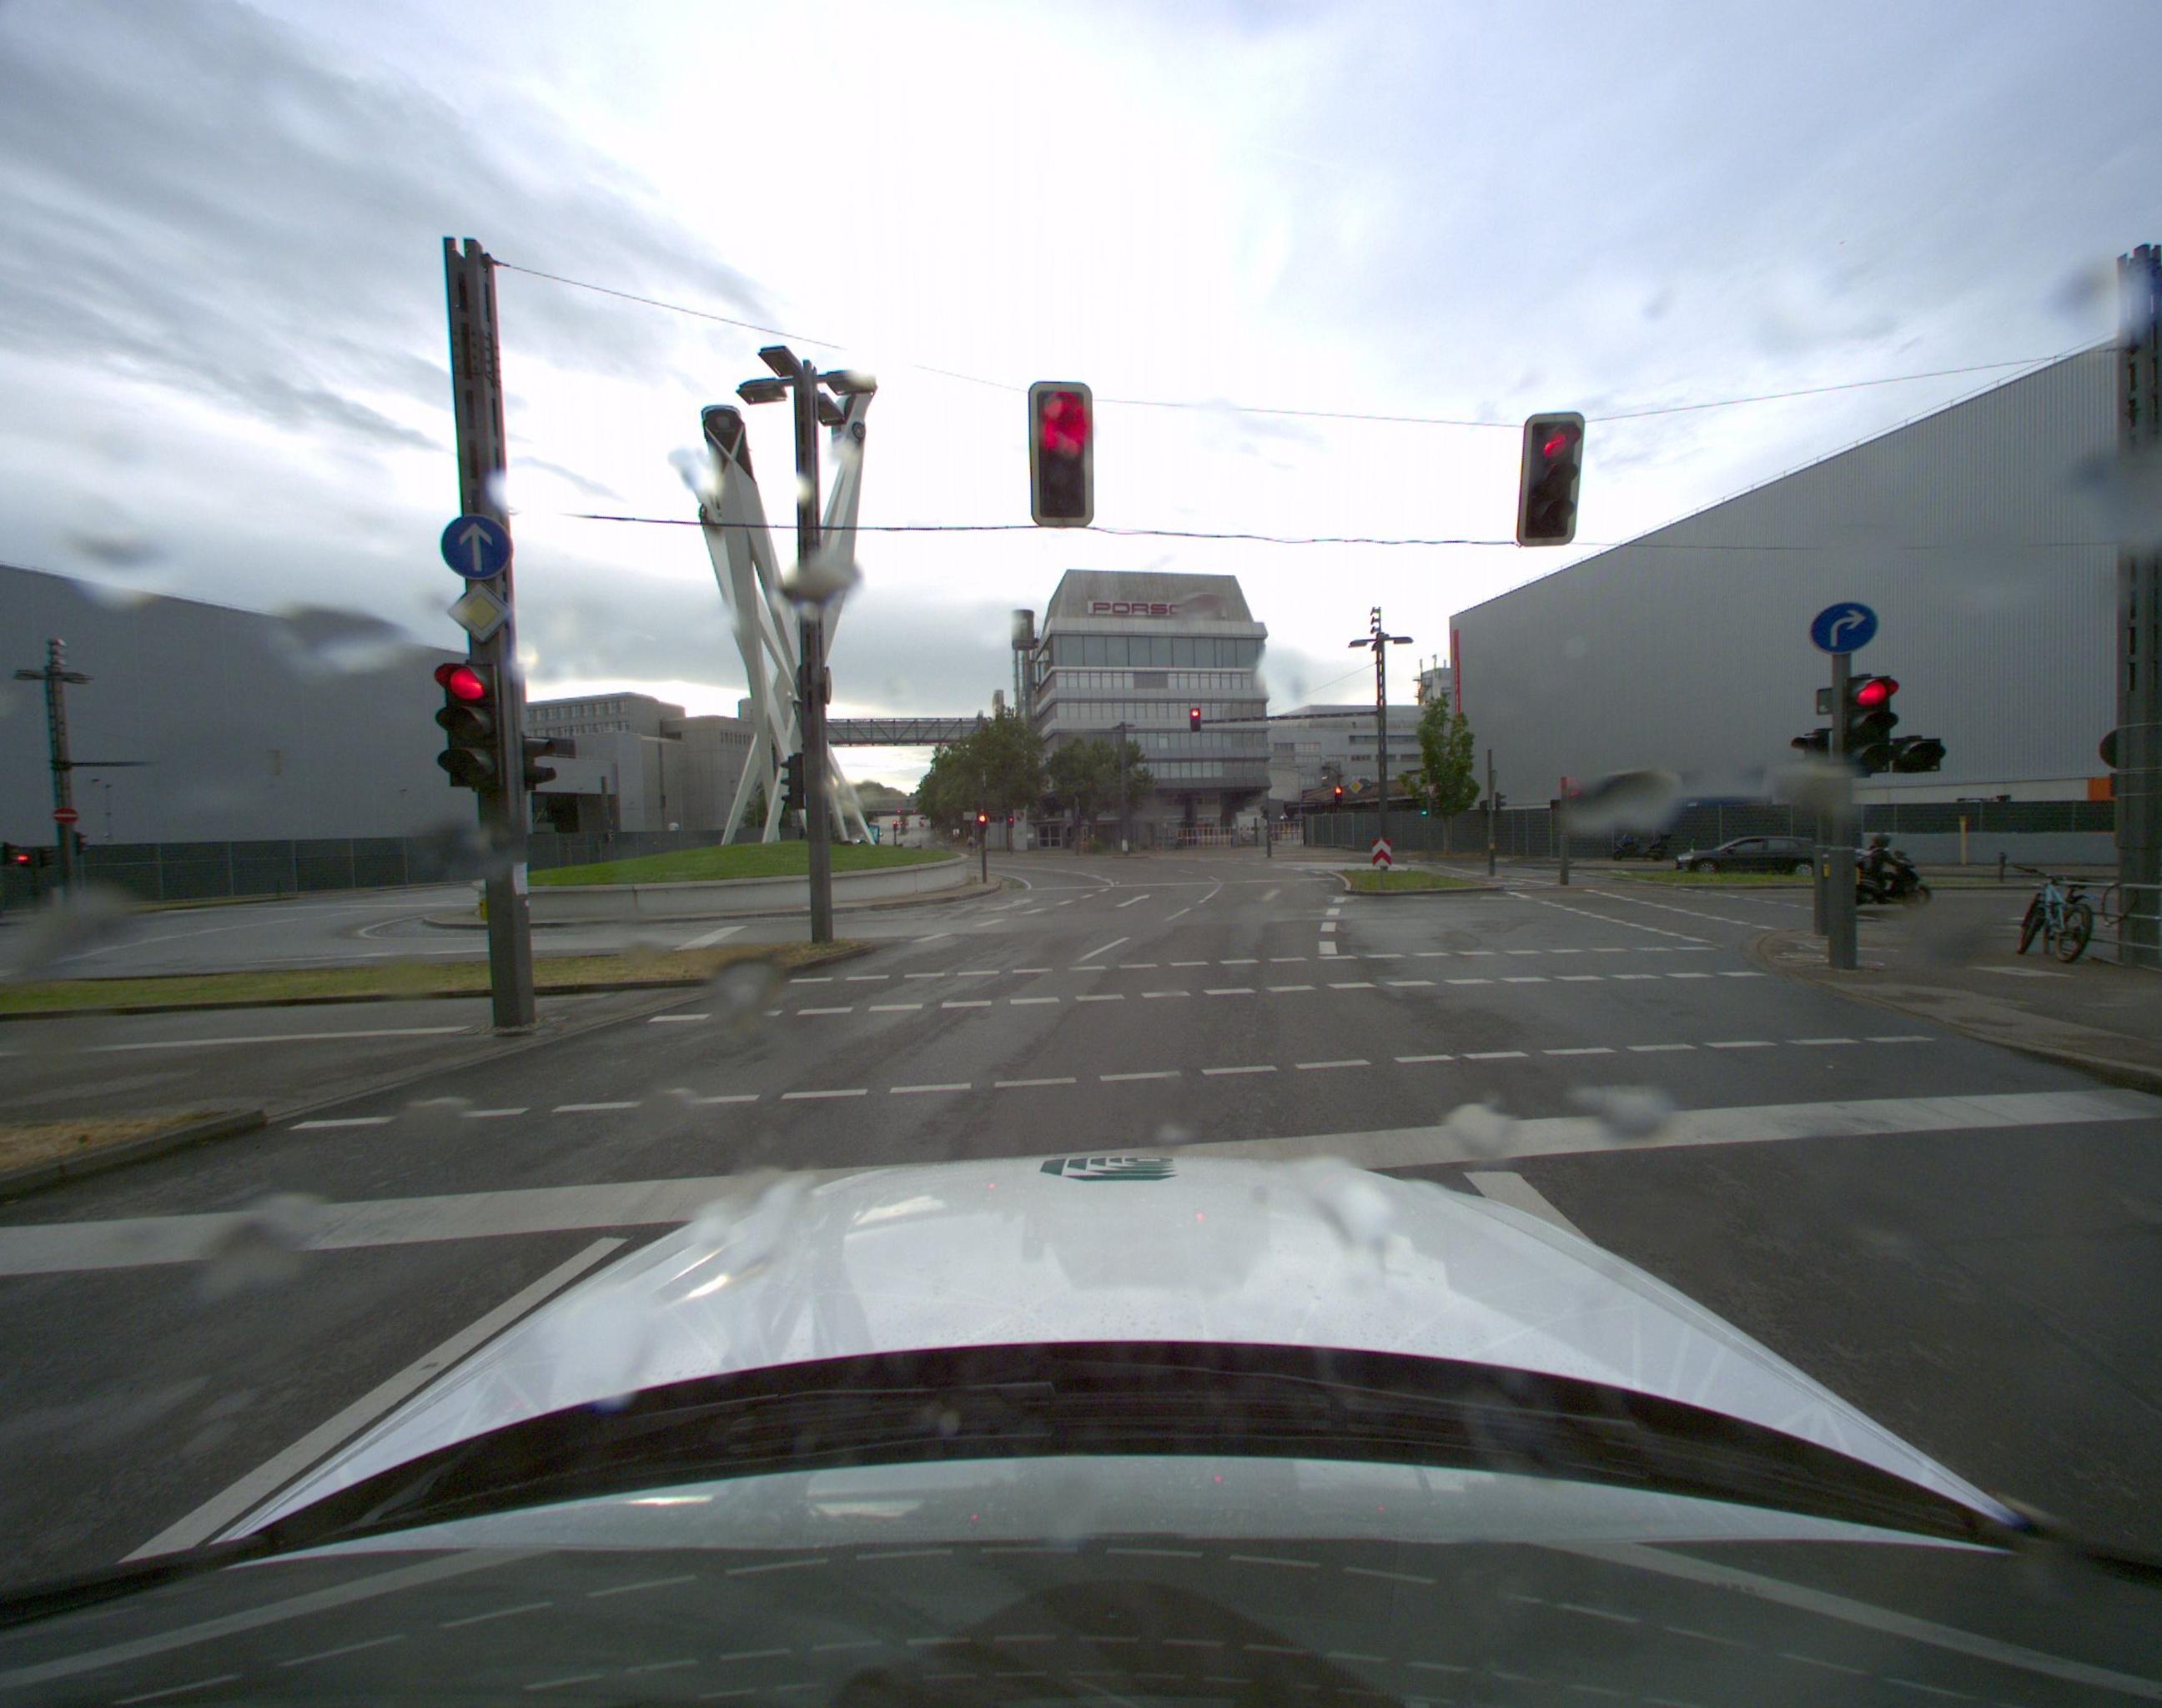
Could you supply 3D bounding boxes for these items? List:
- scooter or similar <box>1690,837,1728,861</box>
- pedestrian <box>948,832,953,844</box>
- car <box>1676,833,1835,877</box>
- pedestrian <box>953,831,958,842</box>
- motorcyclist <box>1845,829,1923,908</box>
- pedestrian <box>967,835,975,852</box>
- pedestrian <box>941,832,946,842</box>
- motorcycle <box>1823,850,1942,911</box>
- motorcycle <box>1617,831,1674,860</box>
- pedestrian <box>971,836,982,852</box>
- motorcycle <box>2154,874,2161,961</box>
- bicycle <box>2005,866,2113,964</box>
[{"bbox_3d":[27.518,-0.219,35.703,0.387,1.028,1.259,-2,2,-29],"label":"scooter or similar"},{"bbox_3d":[-20.110,-2.488,125.404,0.712,1.740,0.757,0,-1,-12],"label":"pedestrian"},{"bbox_3d":[22.831,0.014,27.774,3.949,1.425,1.732,0,1,31],"label":"car"},{"bbox_3d":[-20.155,-2.803,130.970,0.757,1.740,0.712,0,-1,-8],"label":"pedestrian"},{"bbox_3d":[17.134,0.298,17.390,1.029,1.622,0.670,-2,0,-4],"label":"motorcyclist"},{"bbox_3d":[-10.627,-1.057,78.596,0.708,1.591,0.839,-2,2,-7],"label":"pedestrian"},{"bbox_3d":[-28.172,-3.443,166.938,0.761,2.013,0.693,-1,1,5],"label":"pedestrian"},{"bbox_3d":[17.119,0.554,17.406,2.255,1.192,0.450,-2,0,-5],"label":"motorcycle"},{"bbox_3d":[25.581,-0.401,36.947,2.074,1.310,0.659,0,2,27],"label":"motorcycle"},{"bbox_3d":[-9.933,-0.957,77.523,0.834,1.520,0.836,-3,2,-21],"label":"pedestrian"},{"bbox_3d":[15.154,0.825,10.317,2.074,1.145,0.490,0,-1,11],"label":"motorcycle"},{"bbox_3d":[12.571,0.731,10.522,0.416,1.130,2.086,-1,-1,37],"label":"bicycle"}]
